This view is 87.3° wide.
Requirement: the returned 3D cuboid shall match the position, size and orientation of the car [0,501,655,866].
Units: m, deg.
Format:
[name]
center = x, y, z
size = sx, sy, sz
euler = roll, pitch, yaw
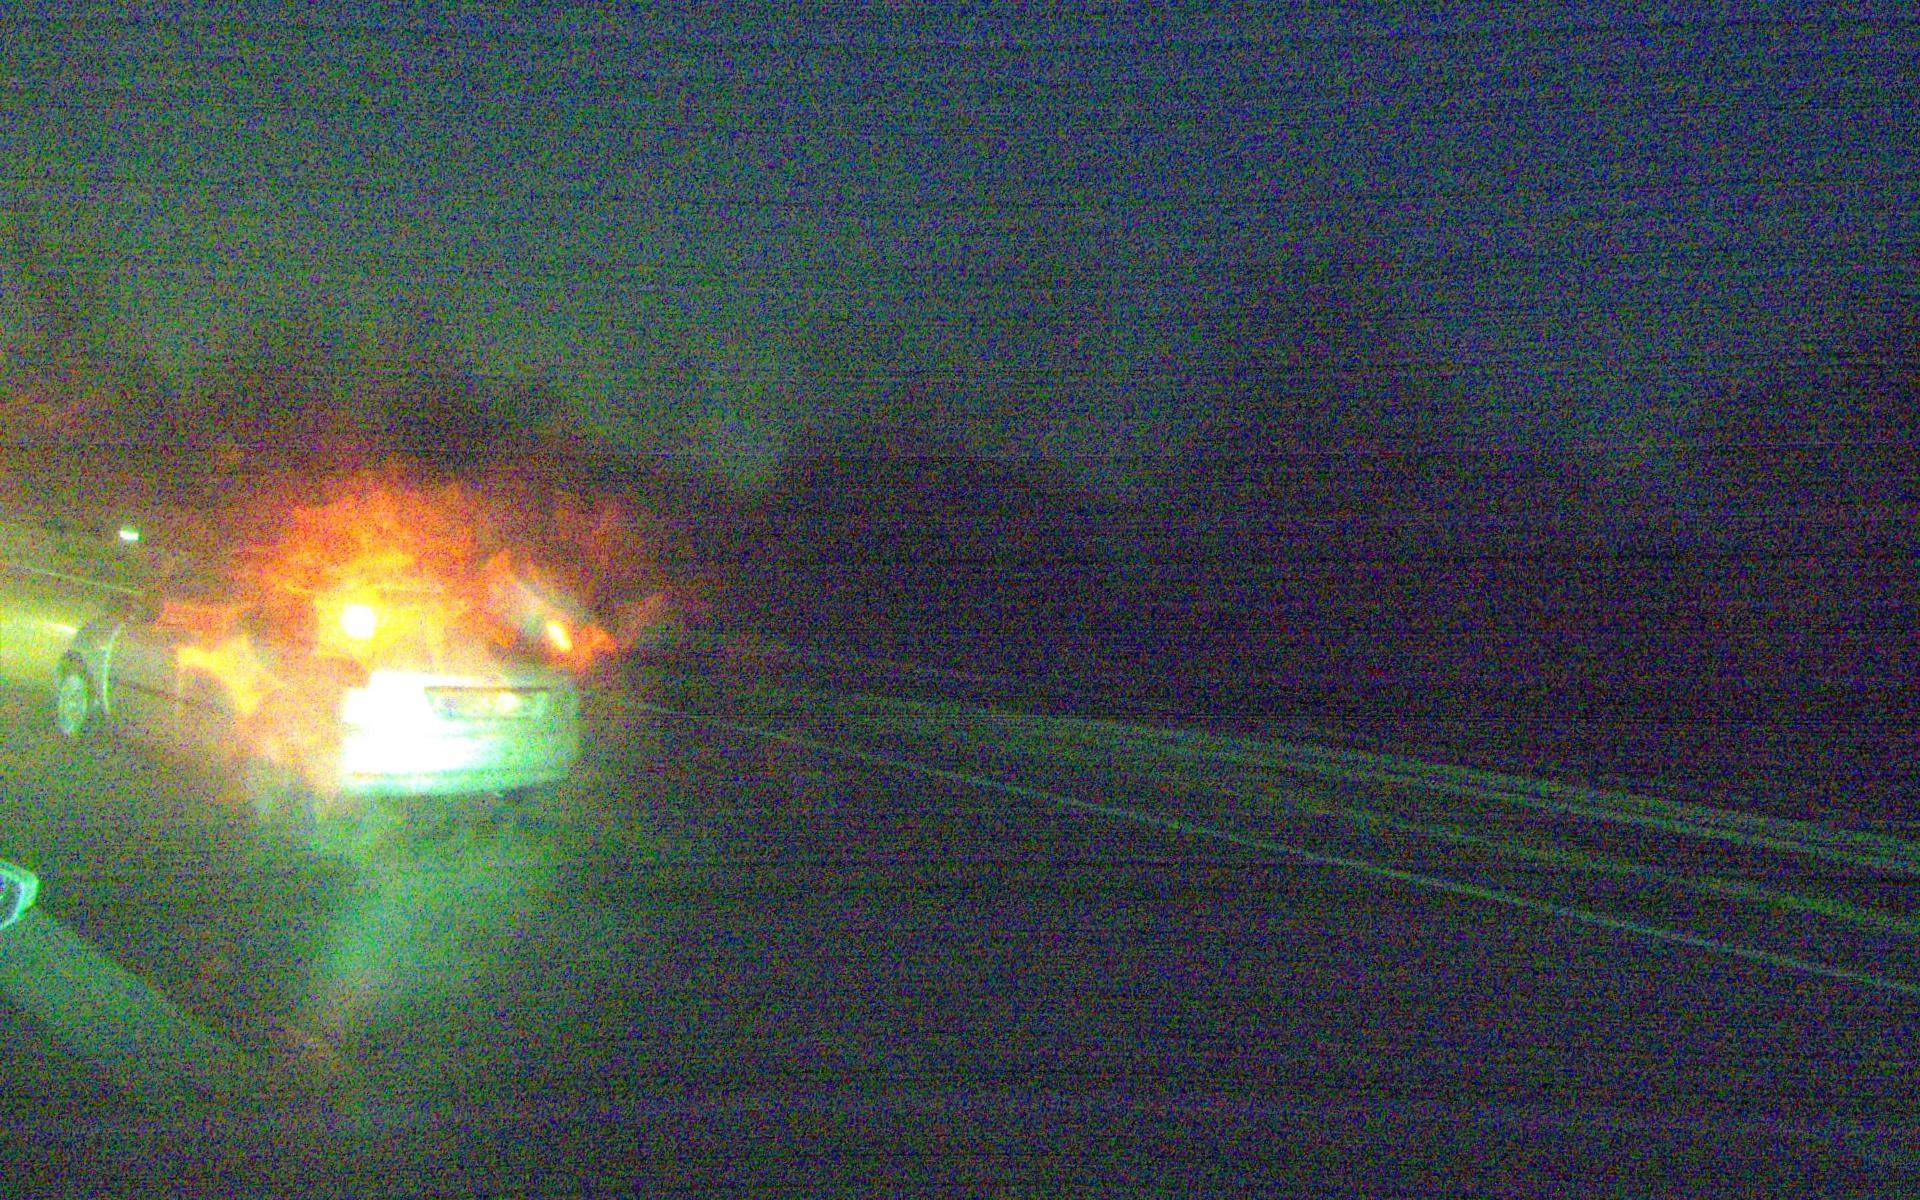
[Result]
[car]
center = -4.157, 0.359, 6.435
size = 4.124, 1.475, 1.773
euler = 7, -1, 30
